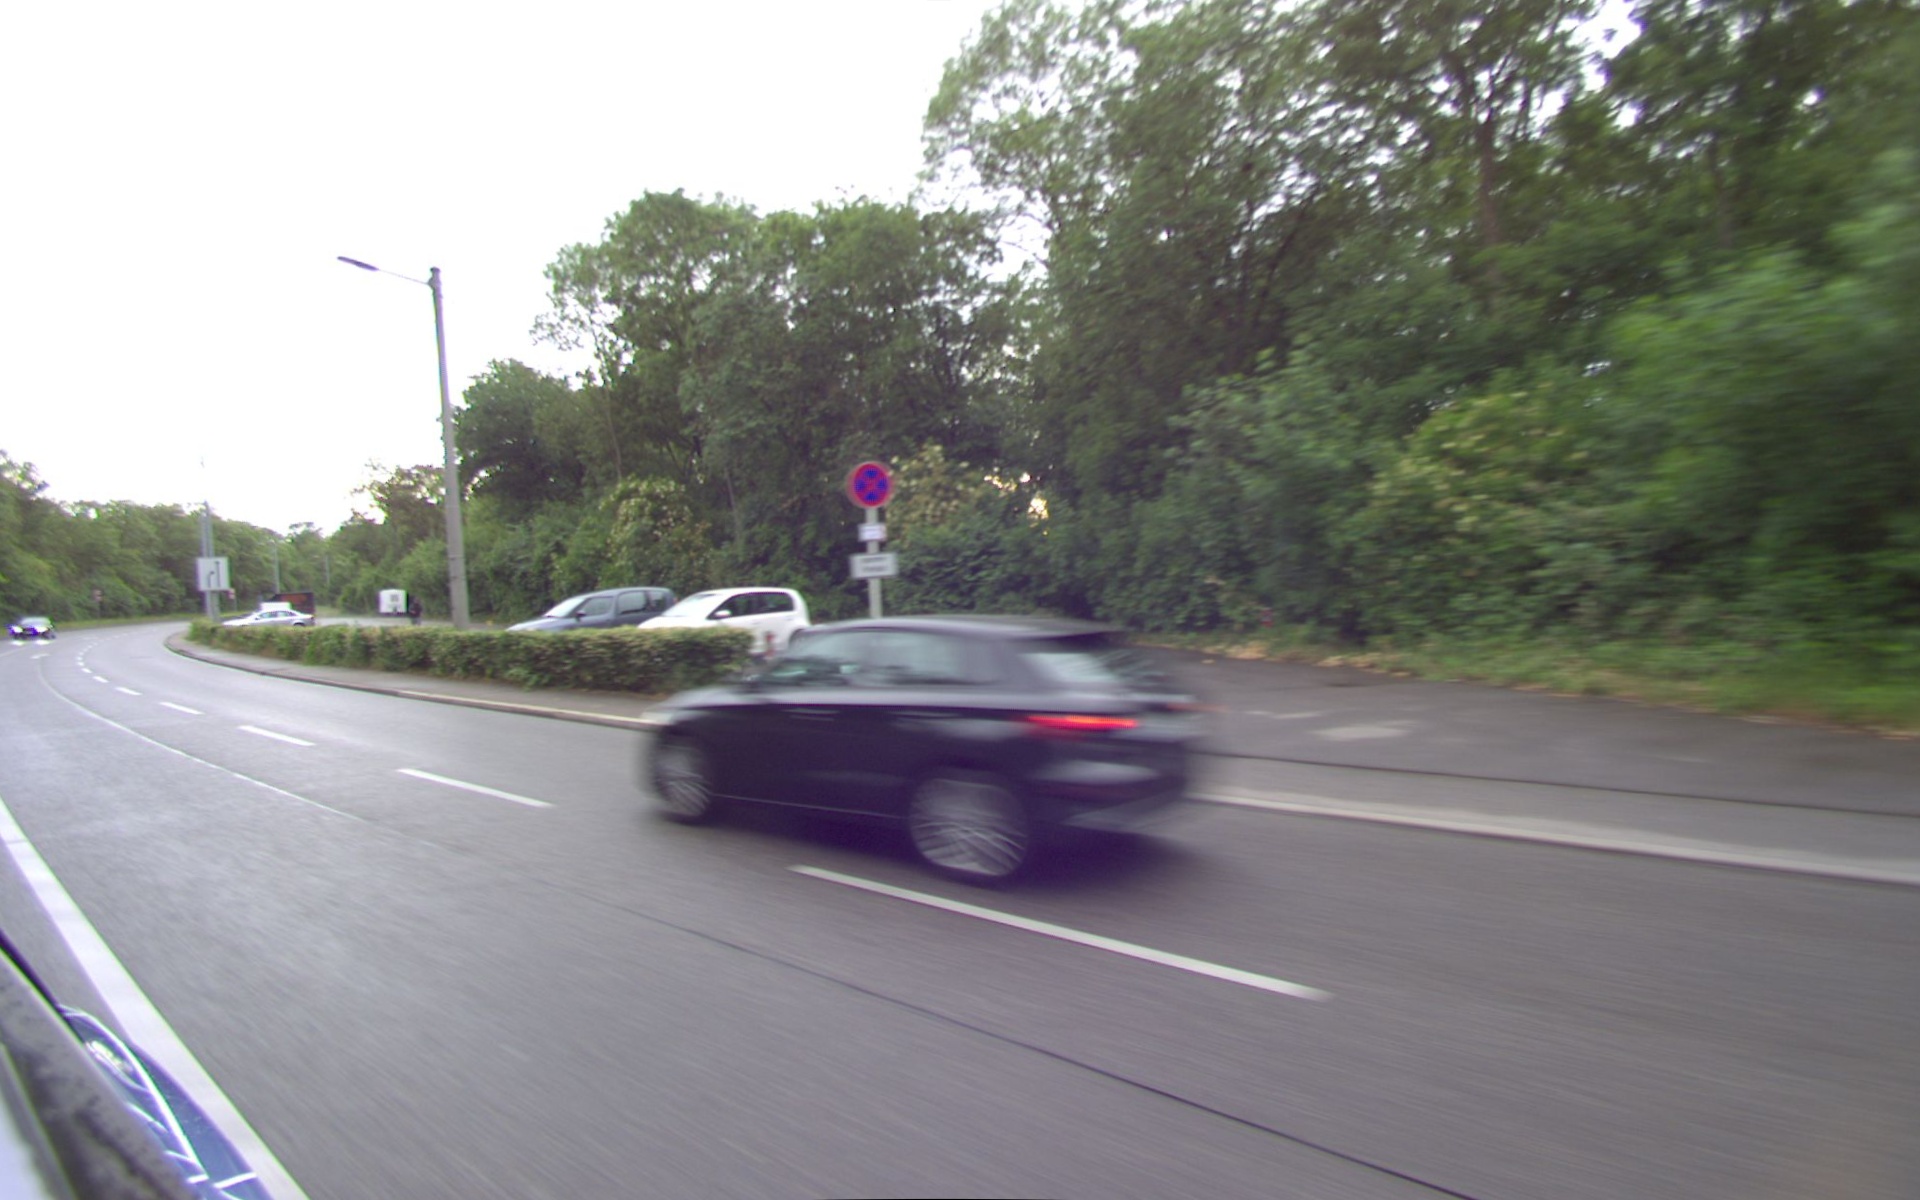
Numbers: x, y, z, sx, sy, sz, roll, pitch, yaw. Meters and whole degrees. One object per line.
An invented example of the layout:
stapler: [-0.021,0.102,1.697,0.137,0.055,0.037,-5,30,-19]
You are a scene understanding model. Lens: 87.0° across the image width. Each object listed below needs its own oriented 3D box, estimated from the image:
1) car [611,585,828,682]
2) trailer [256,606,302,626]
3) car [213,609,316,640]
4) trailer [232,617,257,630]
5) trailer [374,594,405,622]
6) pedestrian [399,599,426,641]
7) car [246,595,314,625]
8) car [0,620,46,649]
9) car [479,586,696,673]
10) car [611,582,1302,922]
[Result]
car: [-4.535,0.581,19.393,1.851,1.603,3.607,-1,1,42]
trailer: [-73.879,1.690,109.824,3.931,2.068,1.879,-1,0,-30]
car: [-39.687,1.363,57.808,4.523,1.517,2.001,-2,1,-45]
trailer: [-64.551,2.098,91.263,1.777,1.042,1.337,-2,0,-36]
trailer: [-62.206,0.842,110.326,2.442,2.895,7.999,-1,0,-33]
pedestrian: [-24.598,0.884,45.440,0.807,1.811,1.137,-1,0,-41]
car: [-76.793,1.107,114.448,6.187,3.136,2.760,-2,1,-33]
car: [-61.479,2.250,66.379,1.968,1.696,4.009,-1,0,-37]
car: [-8.538,0.609,23.396,4.239,1.721,2.003,-2,1,-42]
car: [-0.241,0.709,6.659,4.314,1.509,1.916,-1,0,40]
